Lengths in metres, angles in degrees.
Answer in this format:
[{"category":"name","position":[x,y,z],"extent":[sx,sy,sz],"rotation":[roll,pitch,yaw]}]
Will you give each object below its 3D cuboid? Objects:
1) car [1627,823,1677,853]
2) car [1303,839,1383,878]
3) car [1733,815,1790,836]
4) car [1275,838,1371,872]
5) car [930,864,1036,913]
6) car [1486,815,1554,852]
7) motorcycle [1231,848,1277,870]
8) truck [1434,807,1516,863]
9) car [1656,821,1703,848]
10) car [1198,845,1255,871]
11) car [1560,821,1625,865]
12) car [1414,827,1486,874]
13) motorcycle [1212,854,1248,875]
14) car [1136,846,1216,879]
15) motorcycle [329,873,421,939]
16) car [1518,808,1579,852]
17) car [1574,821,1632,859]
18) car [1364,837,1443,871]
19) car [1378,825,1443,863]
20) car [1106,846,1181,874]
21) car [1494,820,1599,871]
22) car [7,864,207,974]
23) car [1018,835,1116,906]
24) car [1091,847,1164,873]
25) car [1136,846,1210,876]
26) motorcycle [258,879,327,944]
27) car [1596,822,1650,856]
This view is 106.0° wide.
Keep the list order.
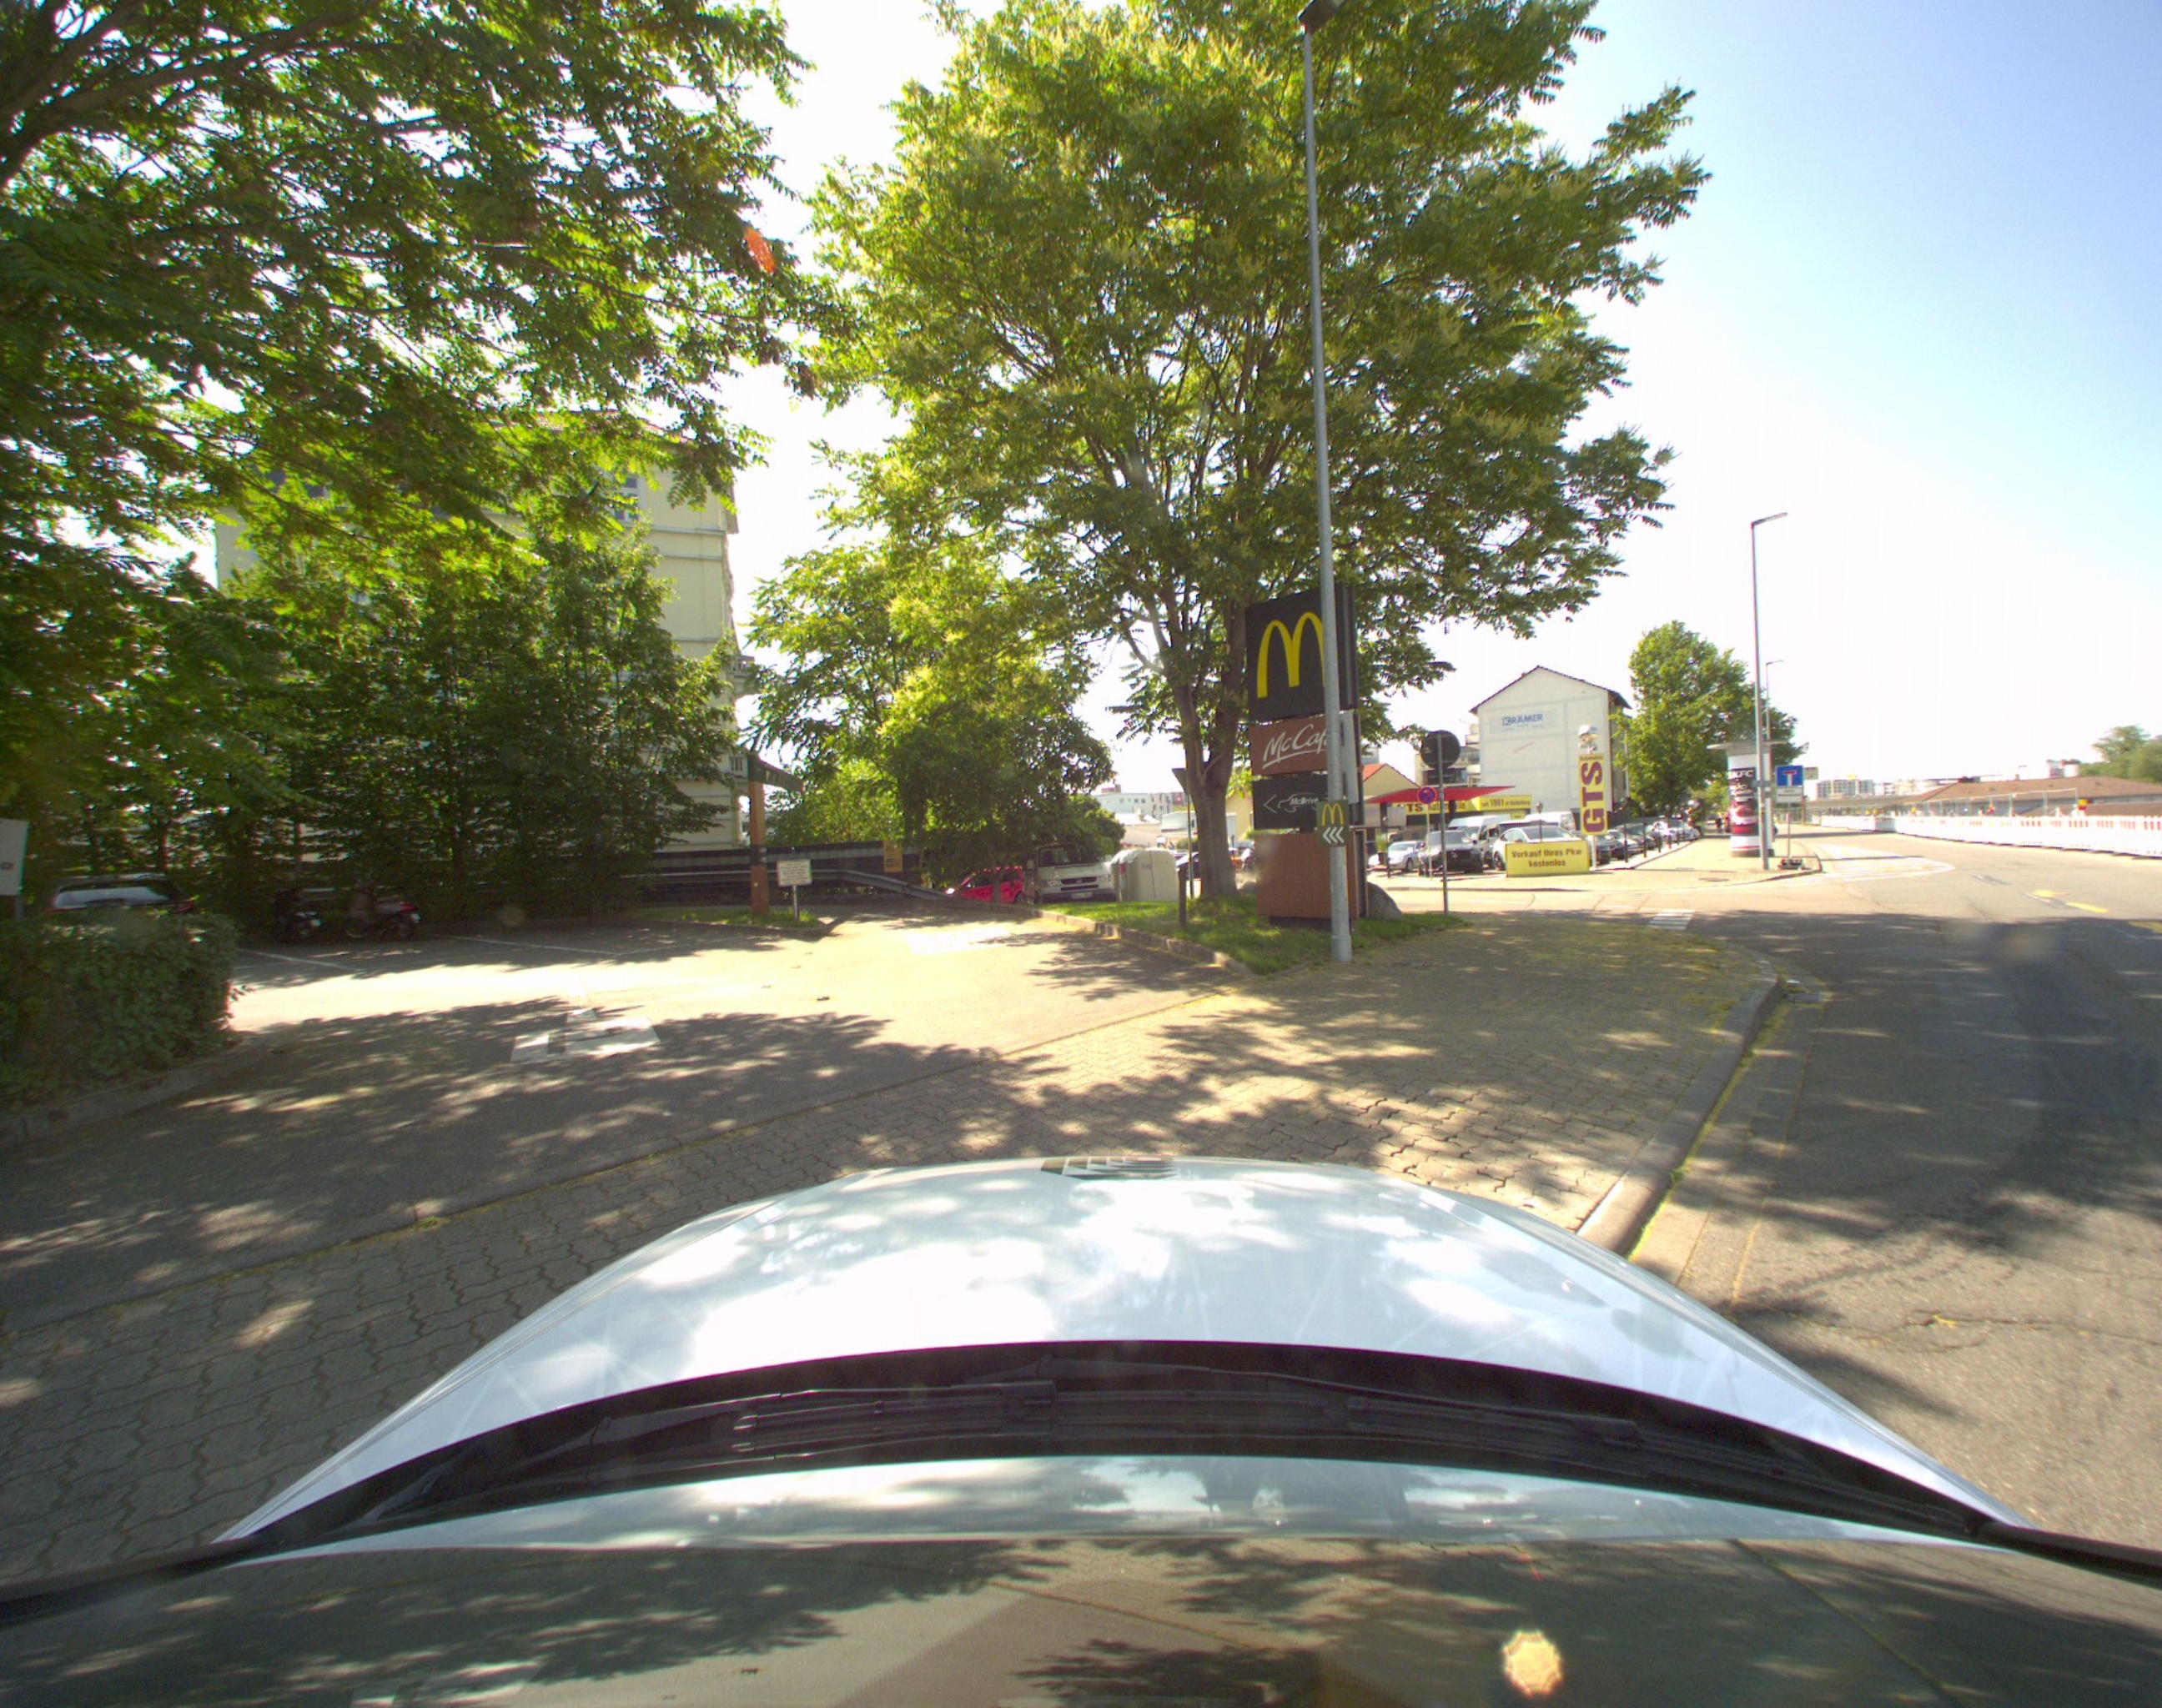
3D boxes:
[{"category":"car","position":[33.831,-0.956,48.334],"extent":[1.839,1.629,4.024],"rotation":[-2,1,27]},{"category":"car","position":[11.066,0.154,34.294],"extent":[1.771,1.510,4.025],"rotation":[-1,0,40]},{"category":"car","position":[56.323,-2.336,67.455],"extent":[3.259,1.637,1.726],"rotation":[-1,0,0]},{"category":"car","position":[12.131,0.048,41.051],"extent":[4.301,1.585,2.002],"rotation":[-1,0,4]},{"category":"car","position":[-3.417,1.148,28.262],"extent":[3.413,1.378,1.478],"rotation":[-3,2,-18]},{"category":"car","position":[22.021,-1.046,40.785],"extent":[1.859,1.738,4.751],"rotation":[0,1,43]},{"category":"motorcycle","position":[10.481,0.297,49.397],"extent":[2.725,1.227,0.990],"rotation":[-1,0,-27]},{"category":"truck","position":[21.646,-1.062,44.621],"extent":[2.248,2.903,5.979],"rotation":[0,1,44]},{"category":"car","position":[39.689,-1.299,54.064],"extent":[1.839,1.629,4.024],"rotation":[-2,1,27]},{"category":"car","position":[9.440,0.224,53.162],"extent":[1.999,1.585,3.977],"rotation":[-1,0,-17]},{"category":"car","position":[20.761,-0.452,33.203],"extent":[1.839,1.629,4.024],"rotation":[-2,1,27]},{"category":"car","position":[13.825,-0.141,30.721],"extent":[2.030,1.594,4.445],"rotation":[-1,0,19]},{"category":"motorcycle","position":[8.494,0.606,46.450],"extent":[1.867,1.158,0.788],"rotation":[-1,0,-8]},{"category":"car","position":[5.375,0.470,46.134],"extent":[4.000,1.706,1.987],"rotation":[-1,0,-20]},{"category":"motorcycle","position":[-13.291,0.979,15.329],"extent":[1.587,1.169,0.573],"rotation":[-2,1,20]},{"category":"car","position":[26.063,-1.332,45.322],"extent":[2.115,2.284,4.741],"rotation":[-2,1,40]},{"category":"car","position":[24.168,-0.672,37.835],"extent":[1.839,1.629,4.024],"rotation":[-2,1,27]},{"category":"car","position":[15.260,0.000,38.482],"extent":[4.021,1.487,1.773],"rotation":[-2,0,-41]},{"category":"car","position":[18.822,-0.584,46.380],"extent":[1.975,2.013,4.523],"rotation":[-1,0,42]},{"category":"car","position":[4.161,0.397,54.228],"extent":[4.664,1.725,1.983],"rotation":[-1,0,-27]},{"category":"car","position":[17.043,-0.317,30.050],"extent":[1.982,1.725,4.009],"rotation":[-1,0,8]},{"category":"car","position":[-16.251,0.968,13.551],"extent":[3.854,1.469,1.672],"rotation":[0,3,34]},{"category":"car","position":[-0.509,0.326,21.340],"extent":[1.950,1.583,5.018],"rotation":[-1,1,-8]},{"category":"car","position":[3.220,0.404,56.445],"extent":[4.664,1.725,1.983],"rotation":[-1,0,-27]},{"category":"car","position":[5.602,0.397,49.471],"extent":[4.009,1.725,1.982],"rotation":[-1,0,-27]},{"category":"motorcycle","position":[-14.699,1.048,15.181],"extent":[1.585,1.140,0.478],"rotation":[-1,1,31]},{"category":"car","position":[27.902,-0.783,42.059],"extent":[1.839,1.629,4.024],"rotation":[-2,1,27]}]
